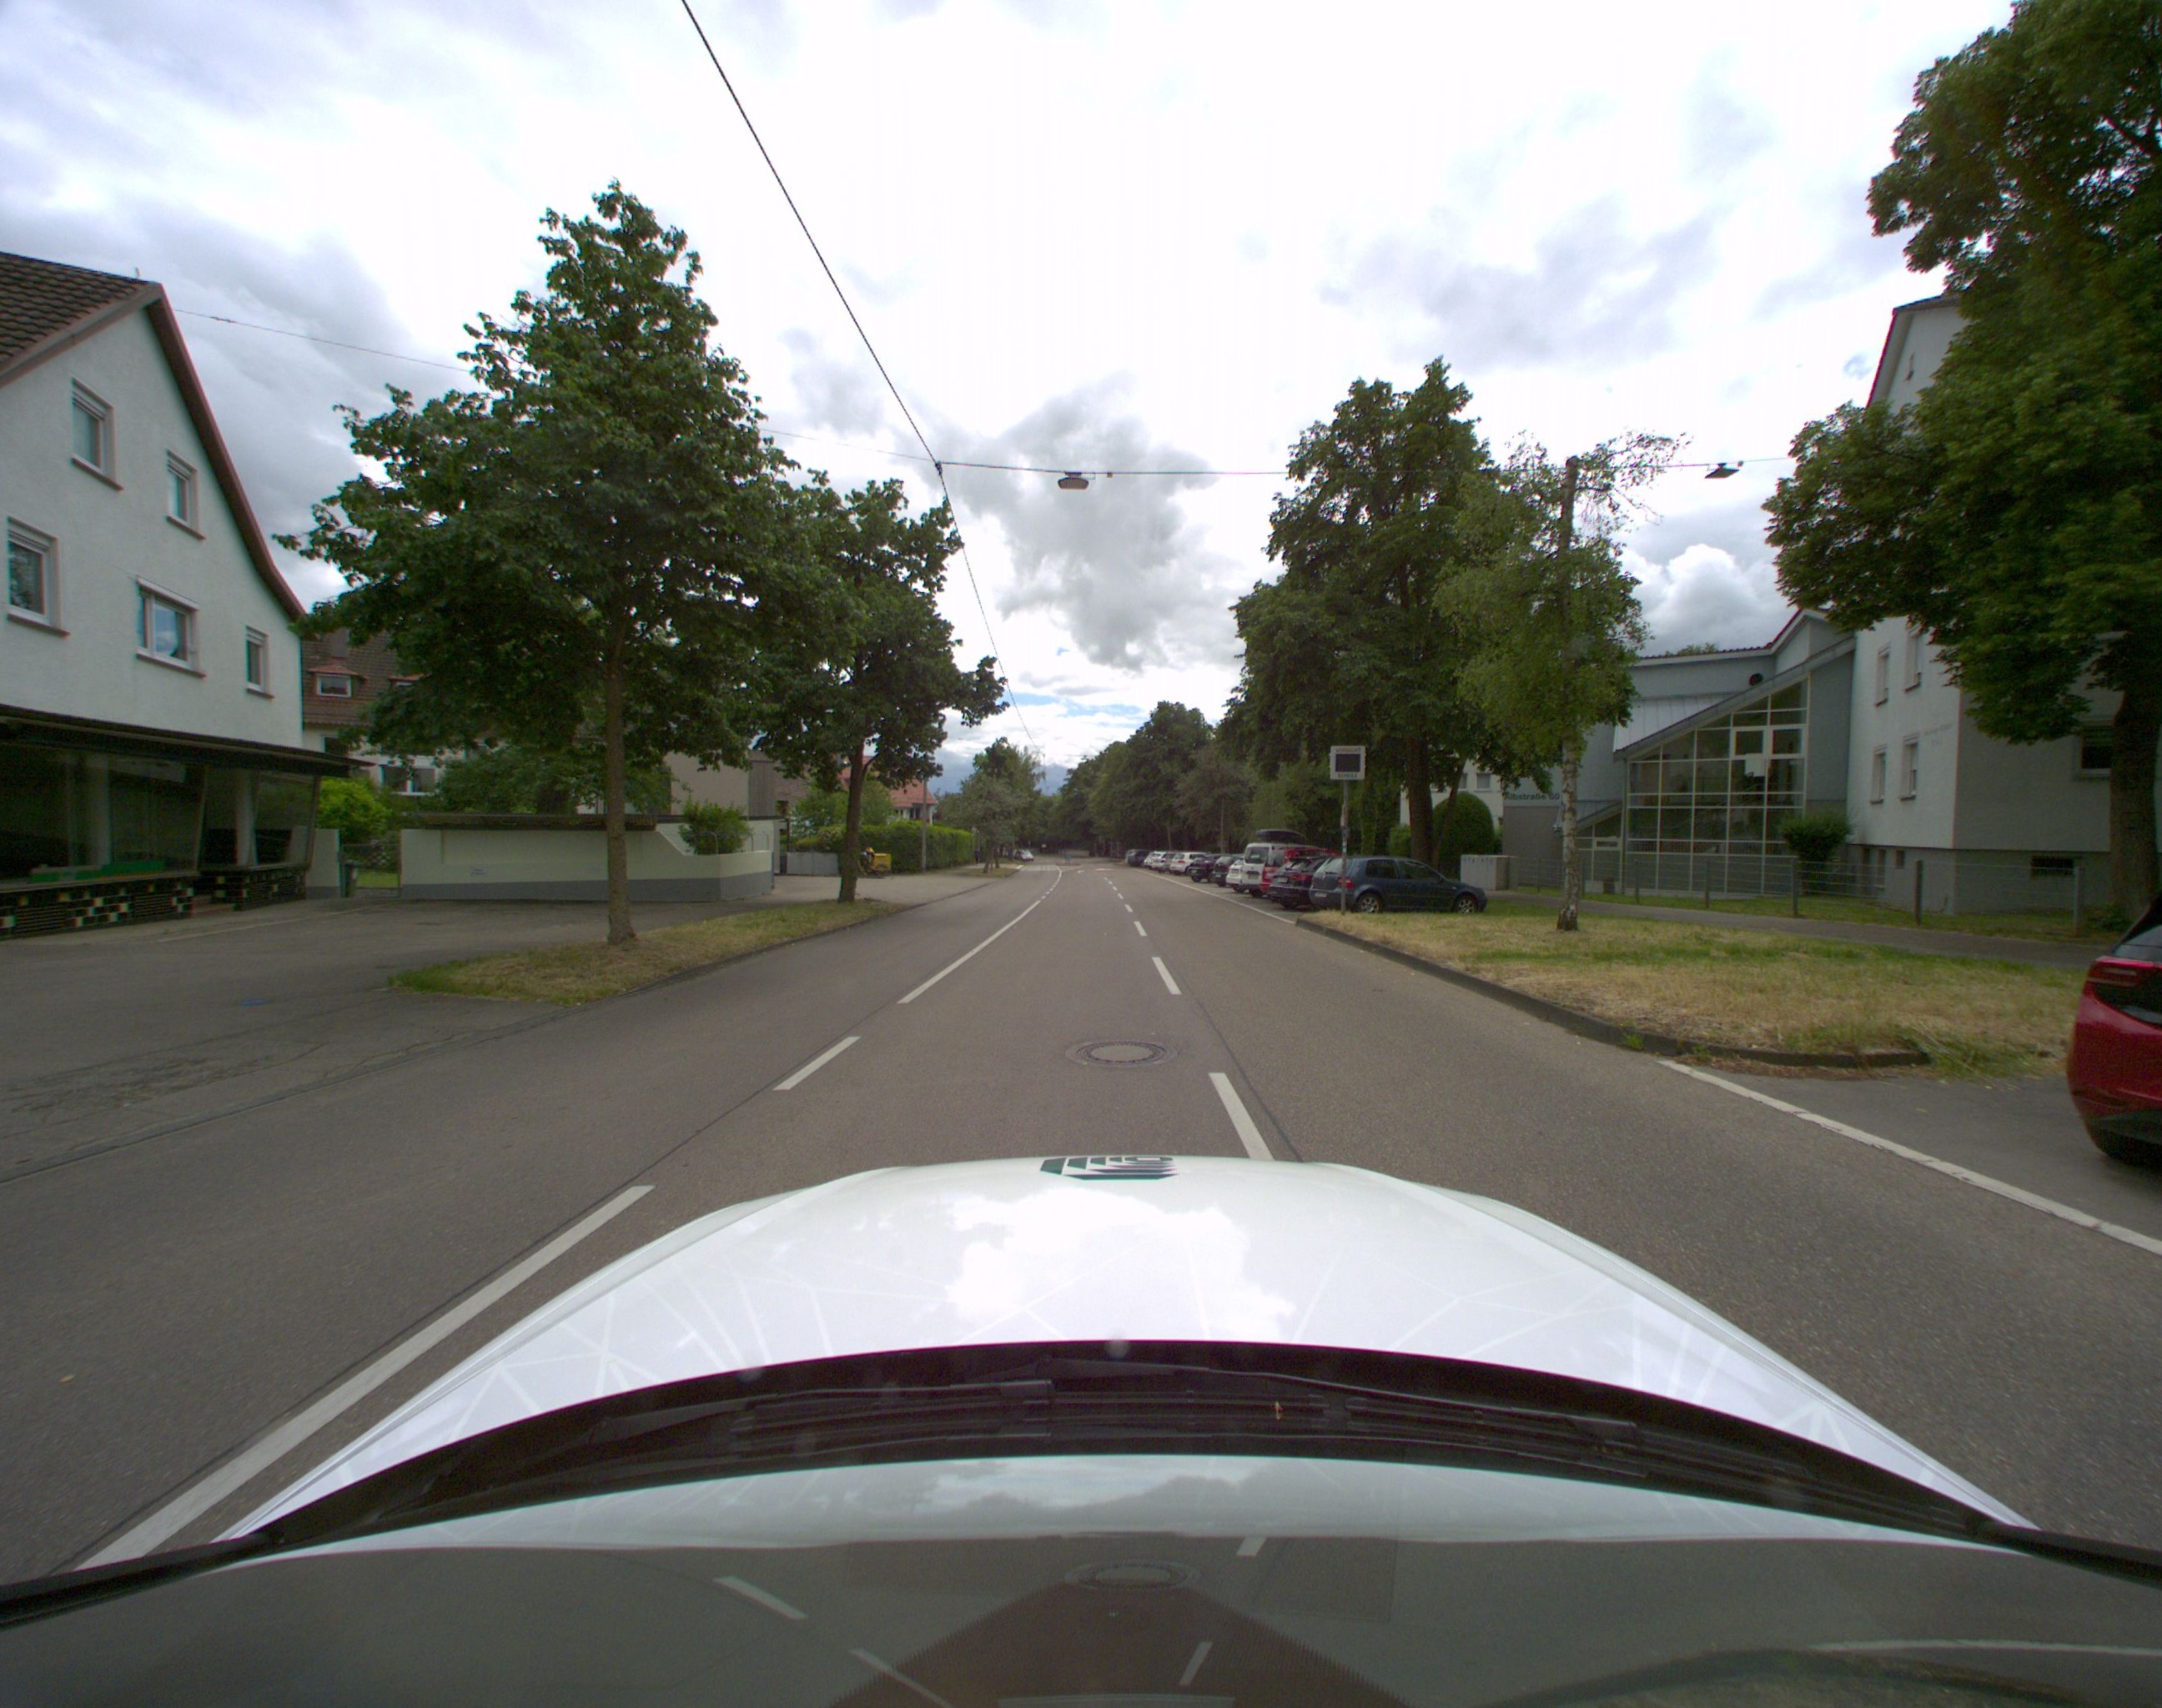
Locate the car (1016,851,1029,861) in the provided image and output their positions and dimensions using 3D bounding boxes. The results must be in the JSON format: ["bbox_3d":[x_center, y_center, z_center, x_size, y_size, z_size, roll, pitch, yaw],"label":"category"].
[{"bbox_3d":[-8.909,0.304,122.936,1.864,1.471,3.993,0,0,-5],"label":"car"}]

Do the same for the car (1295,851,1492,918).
[{"bbox_3d":[7.220,0.699,18.916,3.969,1.405,1.749,2,0,-14],"label":"car"}]

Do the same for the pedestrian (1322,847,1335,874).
[{"bbox_3d":[14.566,0.365,47.921,0.646,1.603,0.745,0,0,7],"label":"pedestrian"}]

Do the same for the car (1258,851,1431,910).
[{"bbox_3d":[6.864,0.689,21.315,4.036,1.405,1.747,1,0,-17],"label":"car"}]

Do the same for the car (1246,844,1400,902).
[{"bbox_3d":[7.180,0.551,24.315,4.003,1.620,1.875,1,0,-15],"label":"car"}]

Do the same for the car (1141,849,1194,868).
[{"bbox_3d":[6.902,0.352,65.143,3.895,1.429,1.733,1,0,-18],"label":"car"}]

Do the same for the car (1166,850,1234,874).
[{"bbox_3d":[7.573,0.496,51.902,3.897,1.449,1.732,1,0,-20],"label":"car"}]

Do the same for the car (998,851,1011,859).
[{"bbox_3d":[-13.668,0.112,145.711,1.868,1.471,3.984,0,0,-11],"label":"car"}]

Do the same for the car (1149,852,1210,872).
[{"bbox_3d":[6.868,0.547,56.778,3.901,1.309,1.730,1,0,-23],"label":"car"}]

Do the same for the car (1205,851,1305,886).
[{"bbox_3d":[7.629,0.642,35.753,3.895,1.449,1.833,1,0,-19],"label":"car"}]

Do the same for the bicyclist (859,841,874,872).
[{"bbox_3d":[-11.765,0.123,44.591,0.713,1.697,0.842,1,1,-19],"label":"bicyclist"}]

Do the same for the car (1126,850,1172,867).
[{"bbox_3d":[6.292,0.419,75.155,3.895,1.429,1.733,1,0,-18],"label":"car"}]

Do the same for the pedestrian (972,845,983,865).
[{"bbox_3d":[-9.288,0.095,73.034,0.972,1.730,0.848,0,0,-3],"label":"pedestrian"}]

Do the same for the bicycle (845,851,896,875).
[{"bbox_3d":[-11.559,0.475,44.680,2.651,1.266,0.842,1,1,-19],"label":"bicycle"}]

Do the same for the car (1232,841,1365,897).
[{"bbox_3d":[7.288,0.496,27.230,4.106,1.754,1.772,1,0,-25],"label":"car"}]

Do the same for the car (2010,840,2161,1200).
[{"bbox_3d":[6.623,0.715,3.646,4.080,1.515,1.724,0,0,-17],"label":"car"}]

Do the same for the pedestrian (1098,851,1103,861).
[{"bbox_3d":[3.215,0.308,132.857,0.736,1.570,0.654,0,0,12],"label":"pedestrian"}]

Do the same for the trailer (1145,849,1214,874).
[{"bbox_3d":[6.535,0.481,54.094,4.165,1.573,1.702,1,0,-18],"label":"trailer"}]

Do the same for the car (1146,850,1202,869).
[{"bbox_3d":[7.121,0.437,62.563,3.895,1.429,1.733,1,0,-18],"label":"car"}]

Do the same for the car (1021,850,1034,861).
[{"bbox_3d":[-7.748,0.178,117.370,1.864,1.471,3.993,0,0,-5],"label":"car"}]

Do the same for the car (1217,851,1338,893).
[{"bbox_3d":[7.347,0.653,30.605,3.972,1.449,1.909,1,0,-14],"label":"car"}]

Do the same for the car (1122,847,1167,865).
[{"bbox_3d":[6.071,0.197,77.948,3.895,1.668,1.733,1,0,-18],"label":"car"}]

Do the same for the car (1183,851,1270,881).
[{"bbox_3d":[7.275,0.594,40.761,3.900,1.449,1.831,1,0,-22],"label":"car"}]
